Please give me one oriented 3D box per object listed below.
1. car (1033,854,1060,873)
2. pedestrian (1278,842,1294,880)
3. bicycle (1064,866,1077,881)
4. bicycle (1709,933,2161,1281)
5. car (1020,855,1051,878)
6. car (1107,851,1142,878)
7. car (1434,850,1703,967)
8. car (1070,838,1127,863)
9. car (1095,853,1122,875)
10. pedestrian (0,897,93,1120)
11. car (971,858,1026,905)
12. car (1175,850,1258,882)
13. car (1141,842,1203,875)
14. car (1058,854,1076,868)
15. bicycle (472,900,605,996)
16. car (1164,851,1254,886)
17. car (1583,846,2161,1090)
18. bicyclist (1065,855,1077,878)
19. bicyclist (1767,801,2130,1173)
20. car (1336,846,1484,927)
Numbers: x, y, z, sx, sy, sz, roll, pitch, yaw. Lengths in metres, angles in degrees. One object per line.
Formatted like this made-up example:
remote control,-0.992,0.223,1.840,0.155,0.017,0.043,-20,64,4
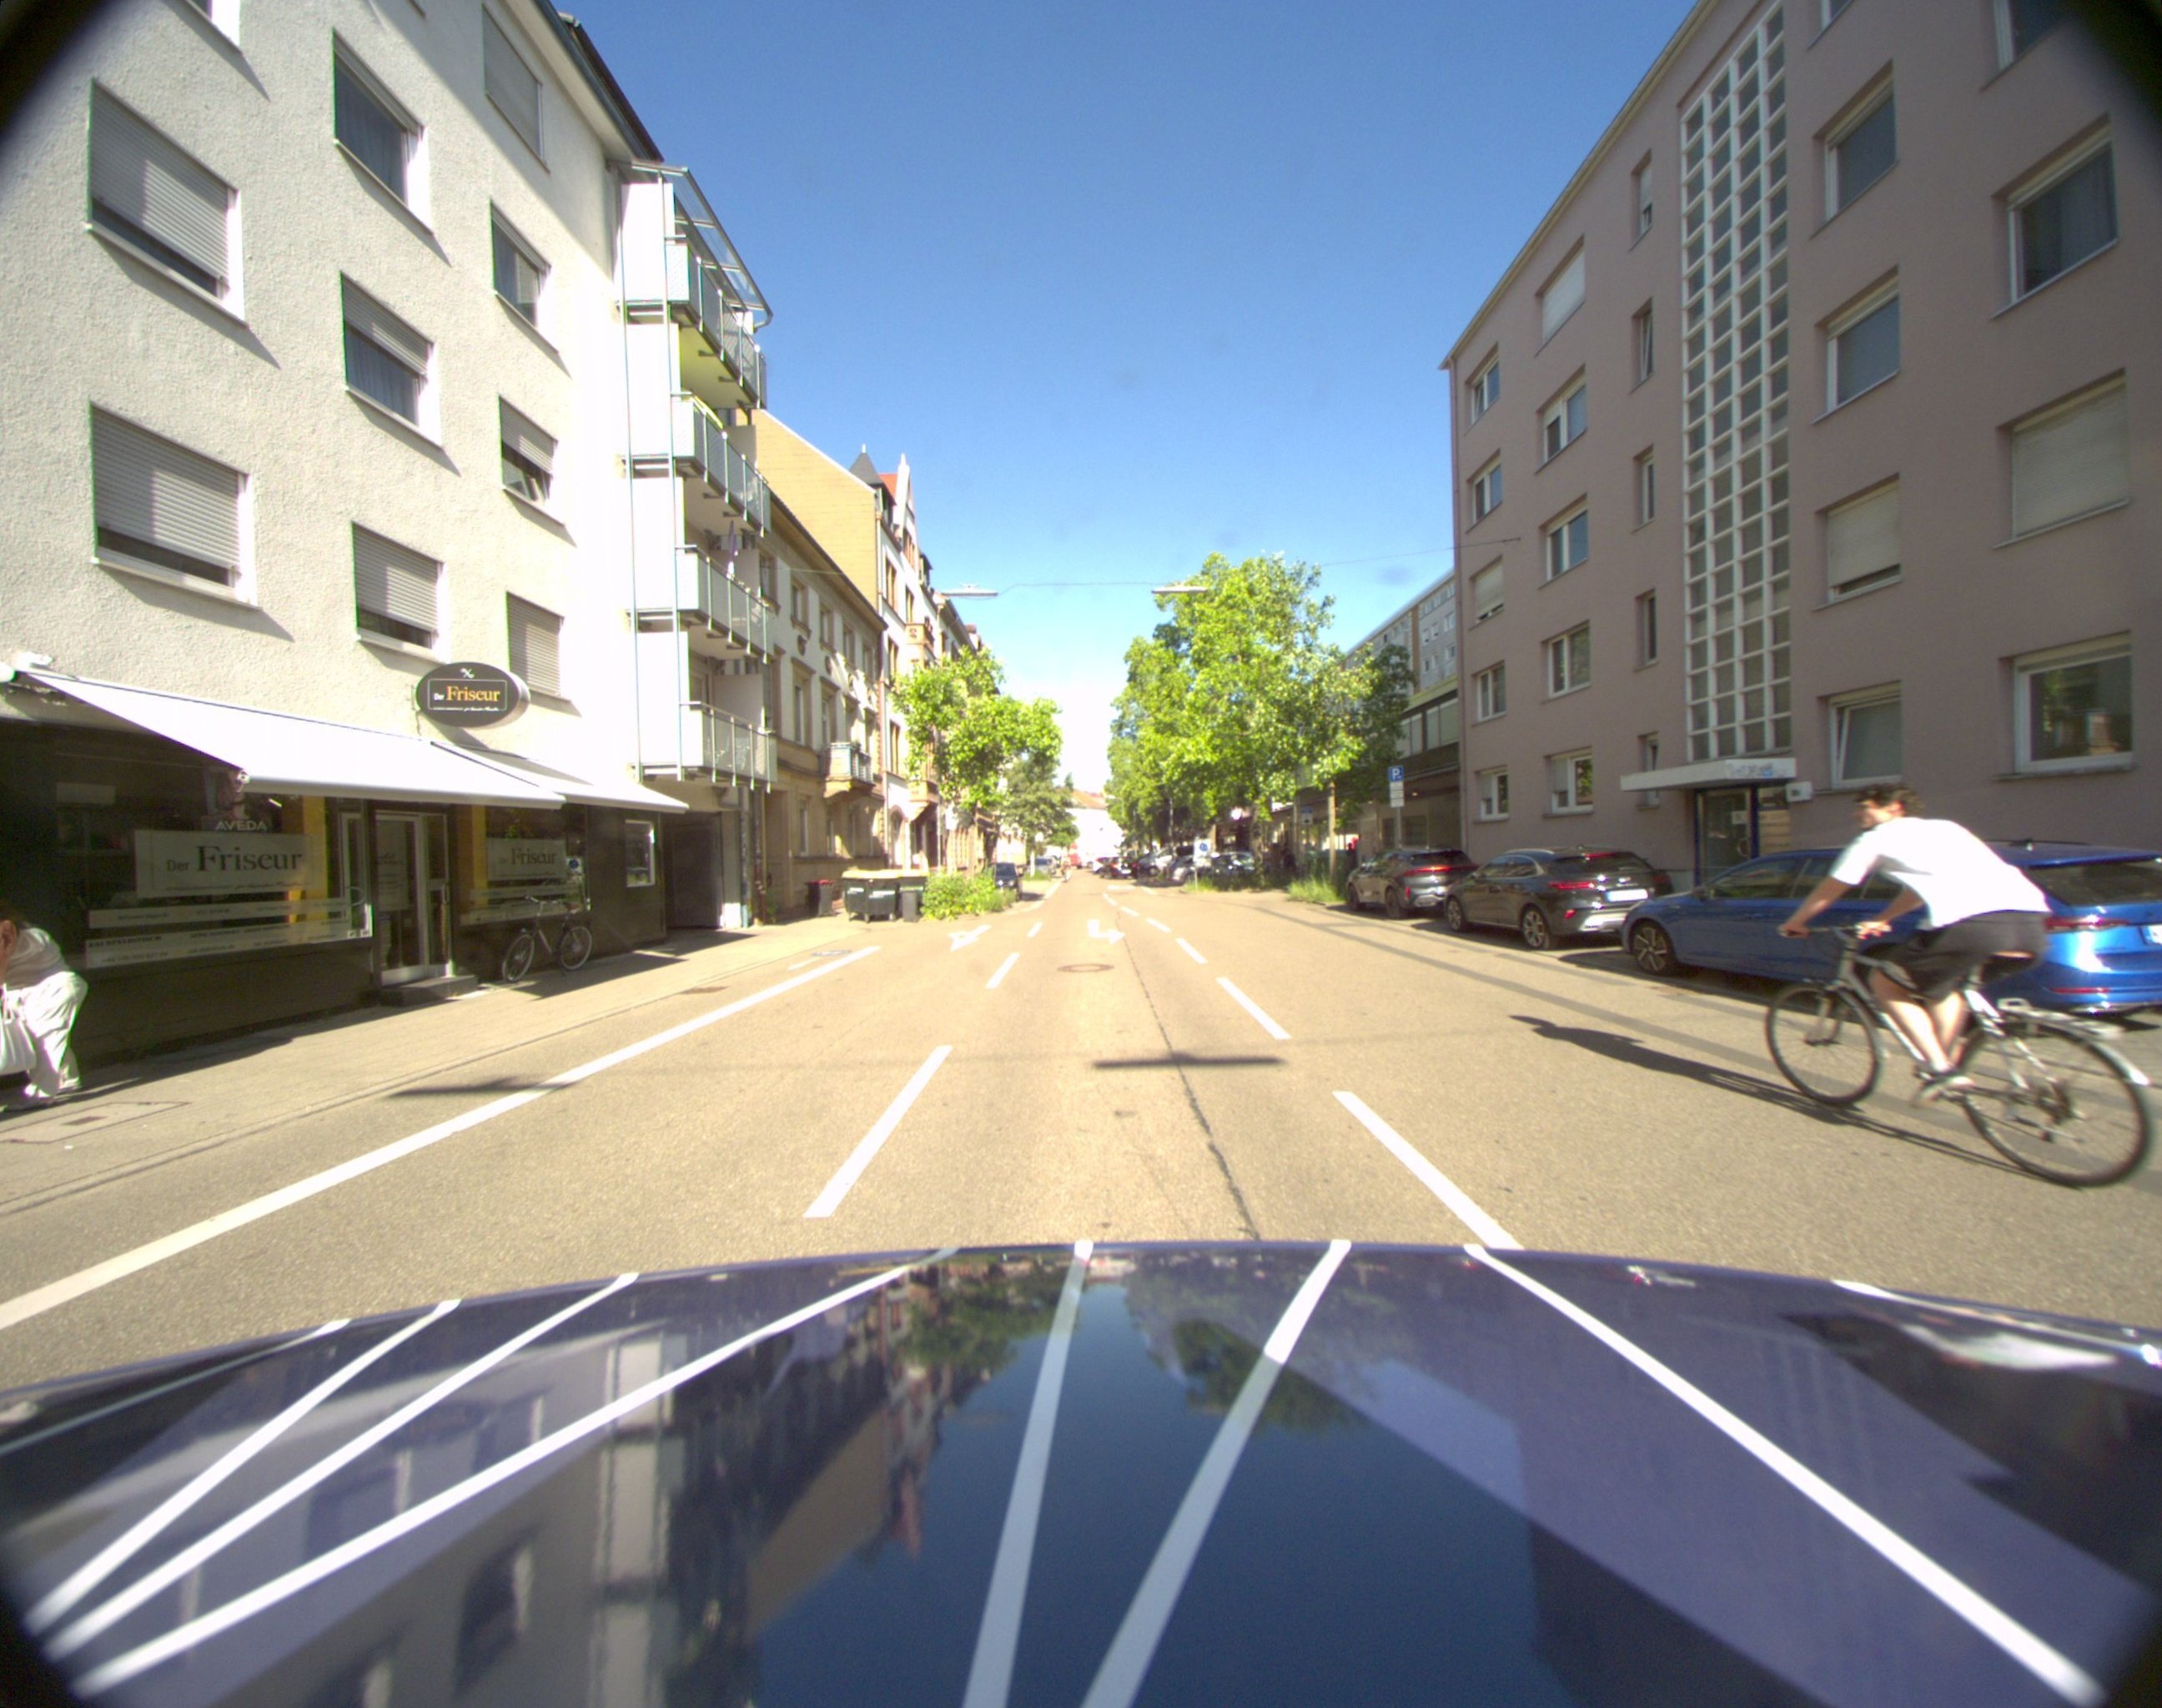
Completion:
car,-2.781,0.764,61.313,1.914,1.444,3.547,-2,0,1
pedestrian,9.719,0.337,36.020,0.623,1.795,0.502,-2,1,1
bicycle,-0.602,1.137,45.002,0.582,0.801,1.710,-2,0,5
bicycle,4.201,1.029,3.722,0.718,1.058,1.872,-1,1,1
car,-3.033,0.828,51.304,1.914,1.444,3.546,-2,0,-1
car,2.662,0.613,47.452,1.911,1.543,4.000,-2,0,0
car,7.510,0.727,12.279,1.727,1.459,4.158,-4,0,2
car,1.814,-0.334,76.315,5.571,2.379,1.973,-2,1,-35
car,2.094,0.730,58.280,1.911,1.543,4.000,-2,0,0
pedestrian,-7.515,1.033,5.144,0.776,1.434,0.625,-1,1,-4
car,-3.045,1.000,28.706,1.627,1.586,3.547,-2,0,1
car,6.986,0.615,39.459,3.996,1.543,1.913,-2,0,3
car,5.976,0.264,50.233,3.875,2.031,1.913,-2,1,3
car,-1.473,0.746,82.550,1.713,1.444,3.547,-2,0,2
bicycle,-7.698,1.295,10.890,0.598,1.137,1.774,1,0,1
car,6.040,0.665,36.185,3.996,1.543,1.913,-2,0,3
car,7.439,0.740,7.398,1.828,1.494,4.801,-4,0,-1
bicyclist,-0.608,0.726,45.046,0.582,1.369,0.665,-2,1,5
bicyclist,4.192,0.578,3.774,0.718,1.611,0.946,-1,1,1
car,7.502,0.668,17.809,1.727,1.567,4.158,-4,0,2
